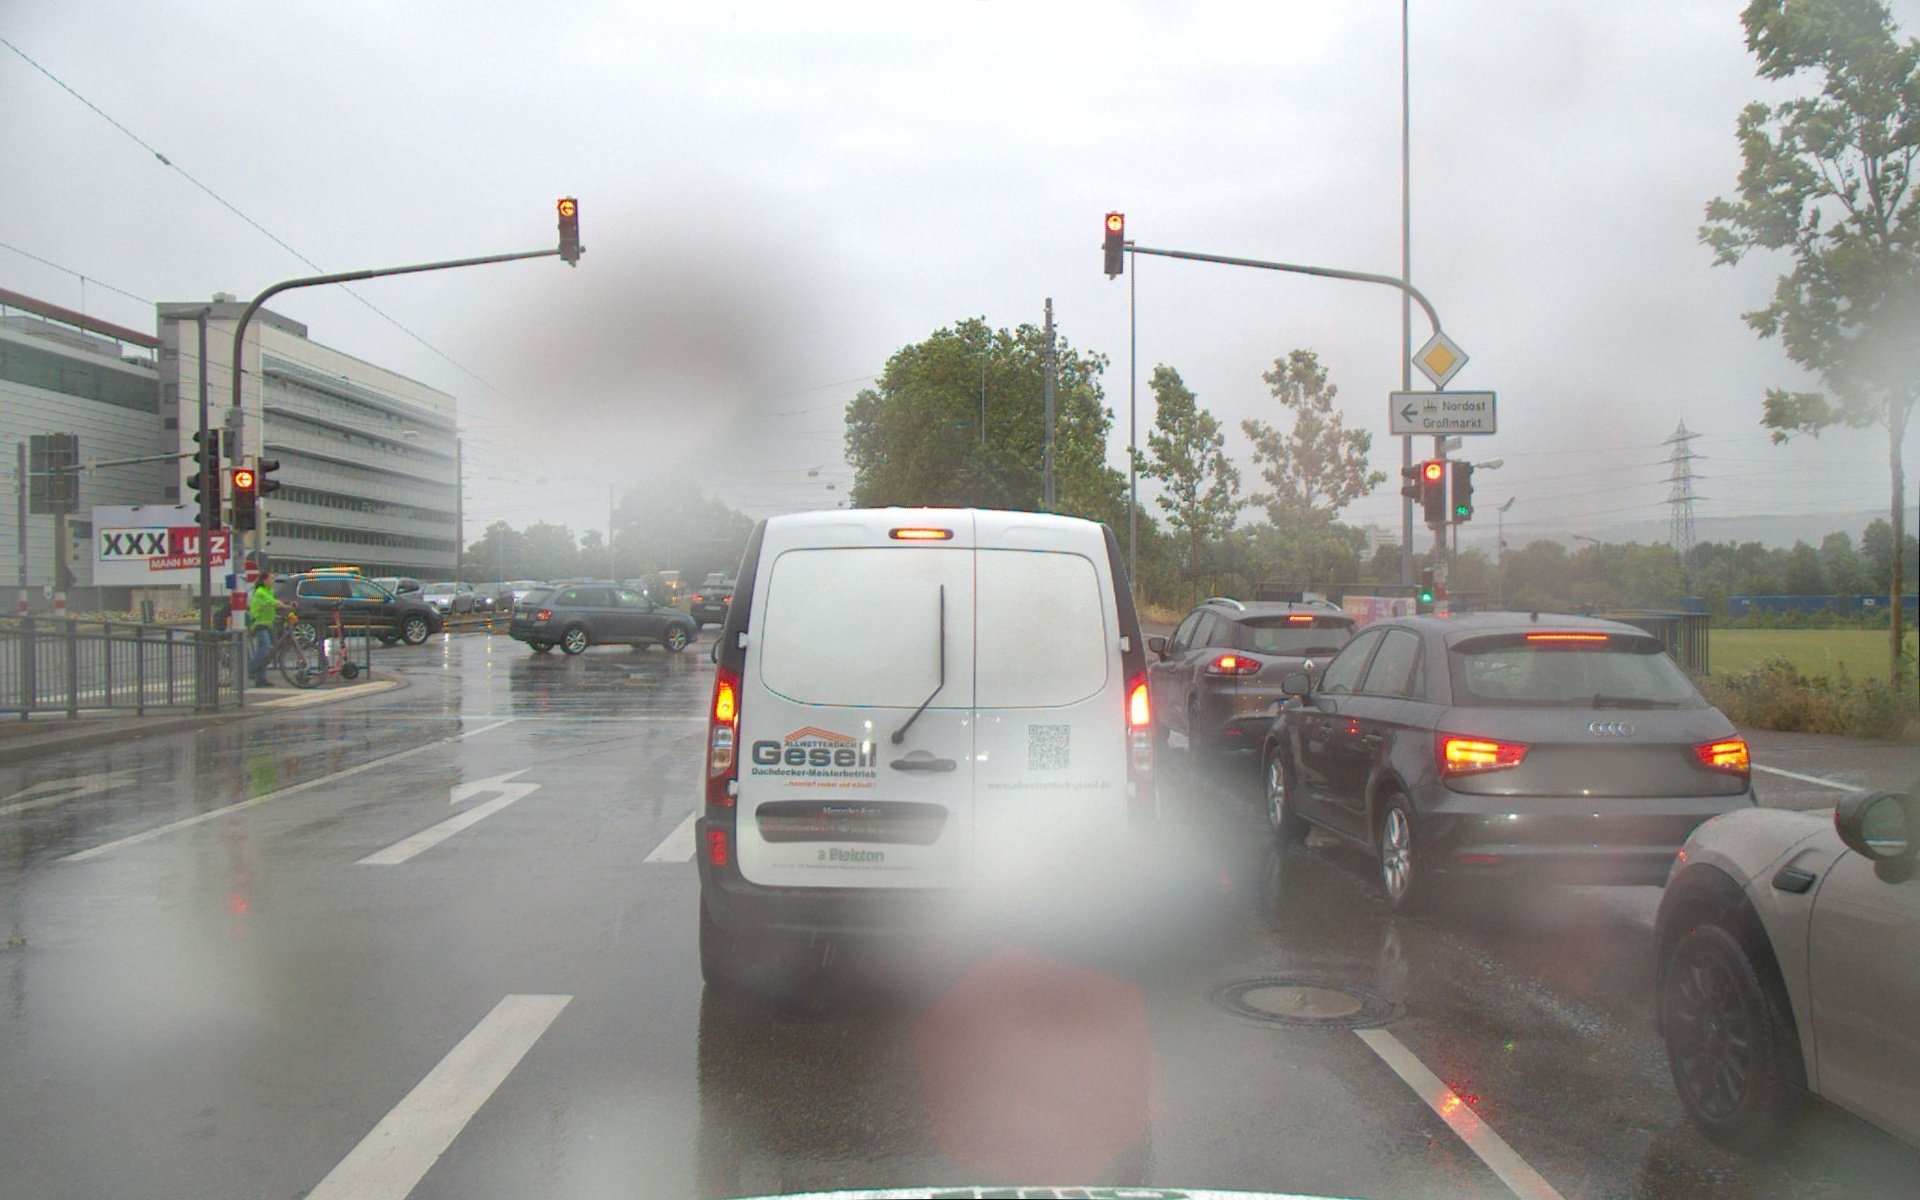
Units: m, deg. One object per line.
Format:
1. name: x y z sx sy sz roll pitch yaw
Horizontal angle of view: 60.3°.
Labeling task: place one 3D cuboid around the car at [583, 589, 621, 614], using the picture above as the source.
1. car: -21.807 0.093 100.917 1.528 1.451 3.568 2 -1 -1

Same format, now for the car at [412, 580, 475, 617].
1. car: -21.817 -0.047 69.992 1.528 1.451 3.568 2 -1 -1

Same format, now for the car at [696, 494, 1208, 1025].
1. car: -0.168 0.510 7.683 1.719 1.780 4.166 1 1 -4

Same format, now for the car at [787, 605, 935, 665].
1. car: -2.661 0.959 45.203 3.889 1.422 1.513 4 0 -41

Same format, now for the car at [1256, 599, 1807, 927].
1. car: 2.799 0.732 8.962 1.565 1.390 3.628 -1 -1 -3

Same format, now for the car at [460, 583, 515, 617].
1. car: -21.977 0.016 77.070 1.528 1.451 3.568 2 -1 -1

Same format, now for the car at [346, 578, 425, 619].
1. car: -21.762 -0.026 62.758 1.676 1.451 3.808 2 -1 -1

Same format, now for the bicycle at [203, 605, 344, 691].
1. bicycle: -9.603 0.661 23.188 1.745 1.157 0.512 1 0 -43

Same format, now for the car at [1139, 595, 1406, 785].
1. car: 2.793 0.740 15.586 1.650 1.534 3.919 1 0 -2

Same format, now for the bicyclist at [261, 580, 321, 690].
1. bicyclist: -9.443 0.485 23.333 0.600 1.517 0.591 2 0 -41

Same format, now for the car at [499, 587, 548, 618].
1. car: -22.018 0.132 83.557 1.528 1.451 3.568 2 -1 -1

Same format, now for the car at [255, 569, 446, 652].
1. car: -14.121 0.255 38.425 3.763 1.703 1.682 4 0 -41

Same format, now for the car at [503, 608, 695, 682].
1. car: -7.709 0.944 35.516 3.764 1.422 1.512 1 2 -42

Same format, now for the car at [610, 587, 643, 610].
1. car: -22.698 -0.105 112.570 1.528 1.451 3.568 2 -1 -1

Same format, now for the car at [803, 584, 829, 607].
1. car: -11.337 -0.347 130.142 1.909 1.691 4.460 2 -1 -4

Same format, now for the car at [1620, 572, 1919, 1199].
1. car: 2.927 0.749 3.173 1.668 1.534 3.879 3 0 -1

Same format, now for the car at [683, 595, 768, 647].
1. car: -7.129 0.638 50.605 1.610 1.422 3.457 4 0 8

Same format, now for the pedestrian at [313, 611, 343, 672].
1. pedestrian: -9.696 0.638 25.375 0.309 0.913 0.380 2 0 -3

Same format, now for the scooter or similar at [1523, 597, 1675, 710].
1. scooter or similar: 7.638 0.595 19.948 0.676 1.232 3.020 0 0 0
